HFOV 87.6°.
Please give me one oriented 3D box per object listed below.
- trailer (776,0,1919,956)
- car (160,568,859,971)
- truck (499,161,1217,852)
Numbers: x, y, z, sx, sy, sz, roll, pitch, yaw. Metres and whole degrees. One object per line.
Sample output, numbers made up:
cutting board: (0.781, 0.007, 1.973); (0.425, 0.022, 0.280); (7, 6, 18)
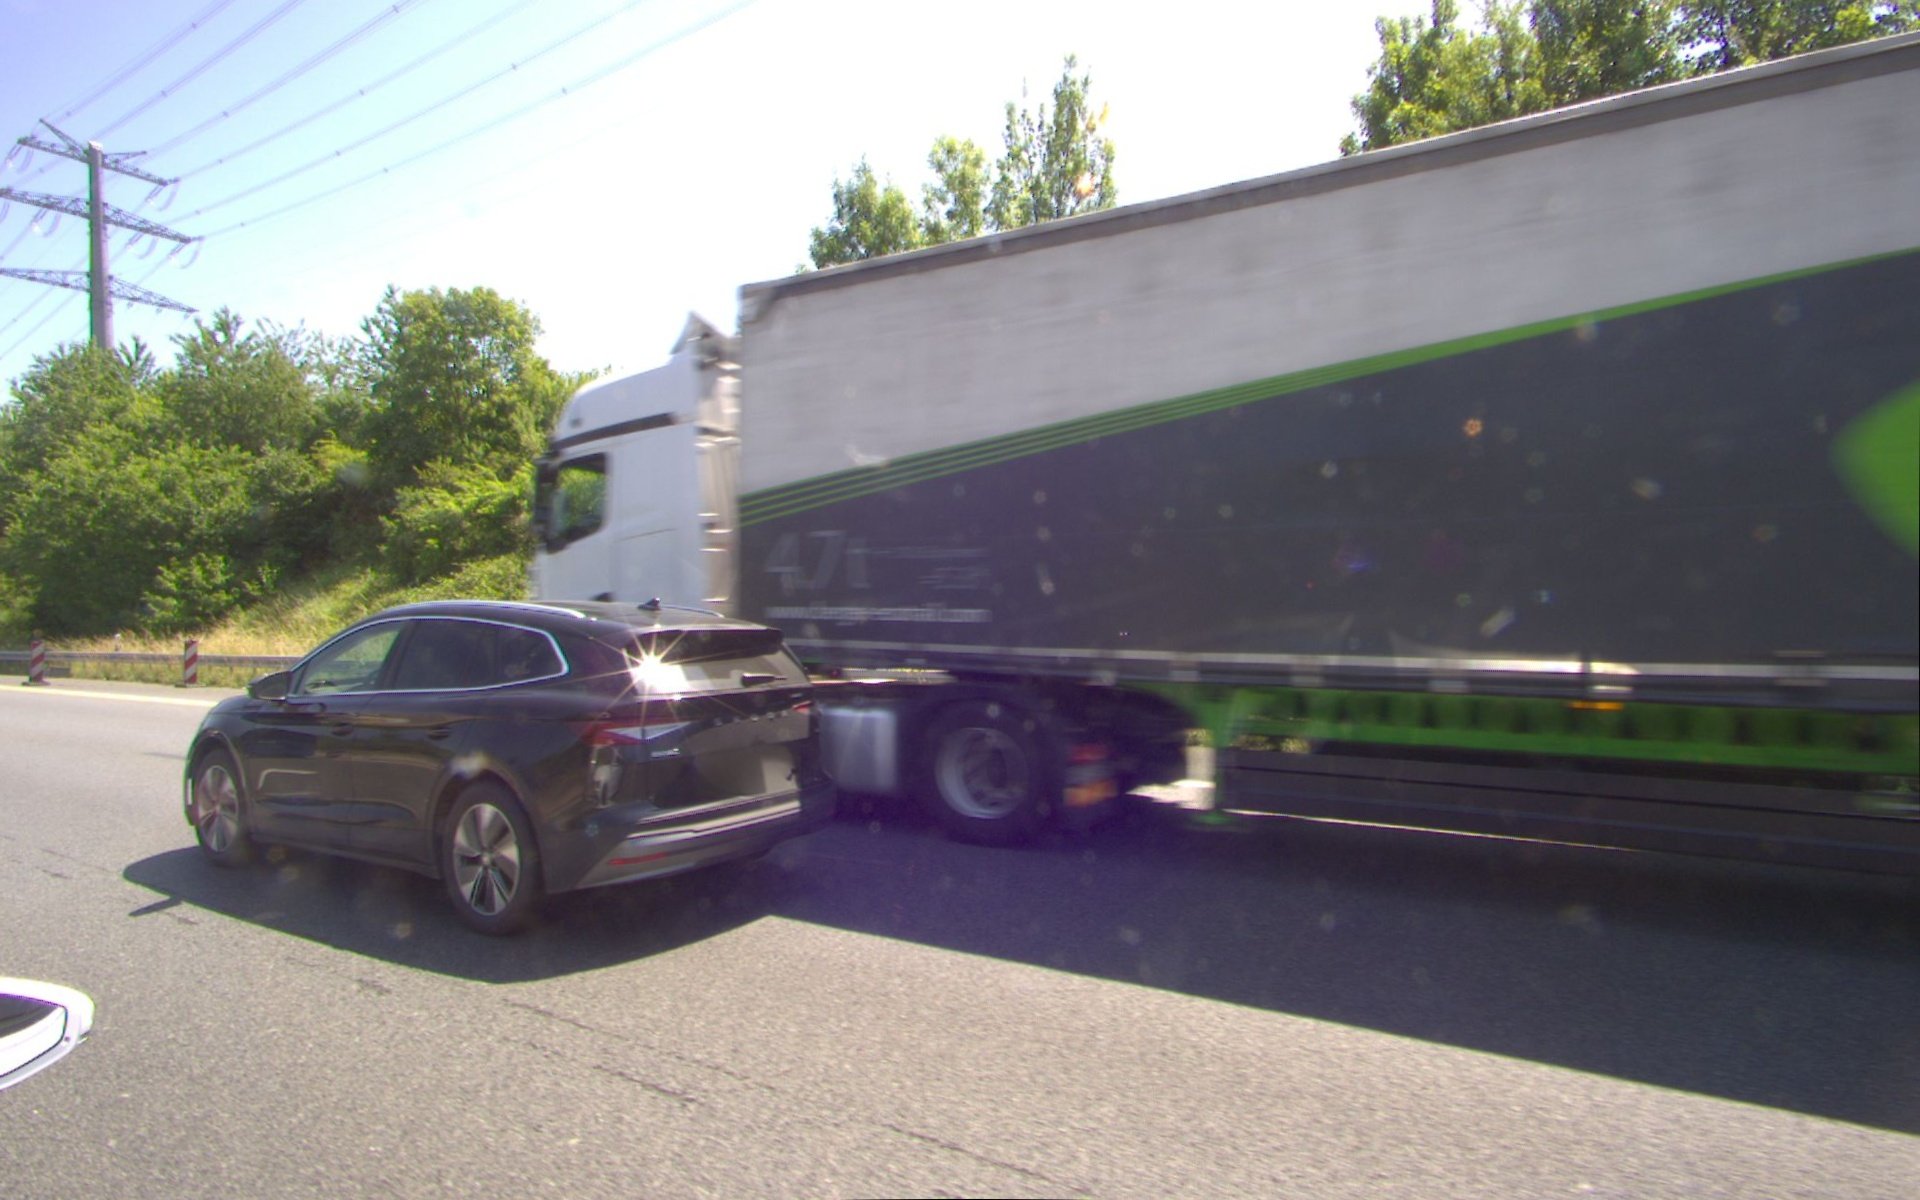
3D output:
trailer: (4.850, -0.615, 4.925); (12.926, 4.099, 2.778); (-1, -2, 33)
car: (-2.859, 0.772, 6.048); (4.365, 1.676, 1.698); (-1, -2, 31)
truck: (-1.009, -0.464, 8.629); (5.711, 4.099, 2.728); (-1, -2, 32)
